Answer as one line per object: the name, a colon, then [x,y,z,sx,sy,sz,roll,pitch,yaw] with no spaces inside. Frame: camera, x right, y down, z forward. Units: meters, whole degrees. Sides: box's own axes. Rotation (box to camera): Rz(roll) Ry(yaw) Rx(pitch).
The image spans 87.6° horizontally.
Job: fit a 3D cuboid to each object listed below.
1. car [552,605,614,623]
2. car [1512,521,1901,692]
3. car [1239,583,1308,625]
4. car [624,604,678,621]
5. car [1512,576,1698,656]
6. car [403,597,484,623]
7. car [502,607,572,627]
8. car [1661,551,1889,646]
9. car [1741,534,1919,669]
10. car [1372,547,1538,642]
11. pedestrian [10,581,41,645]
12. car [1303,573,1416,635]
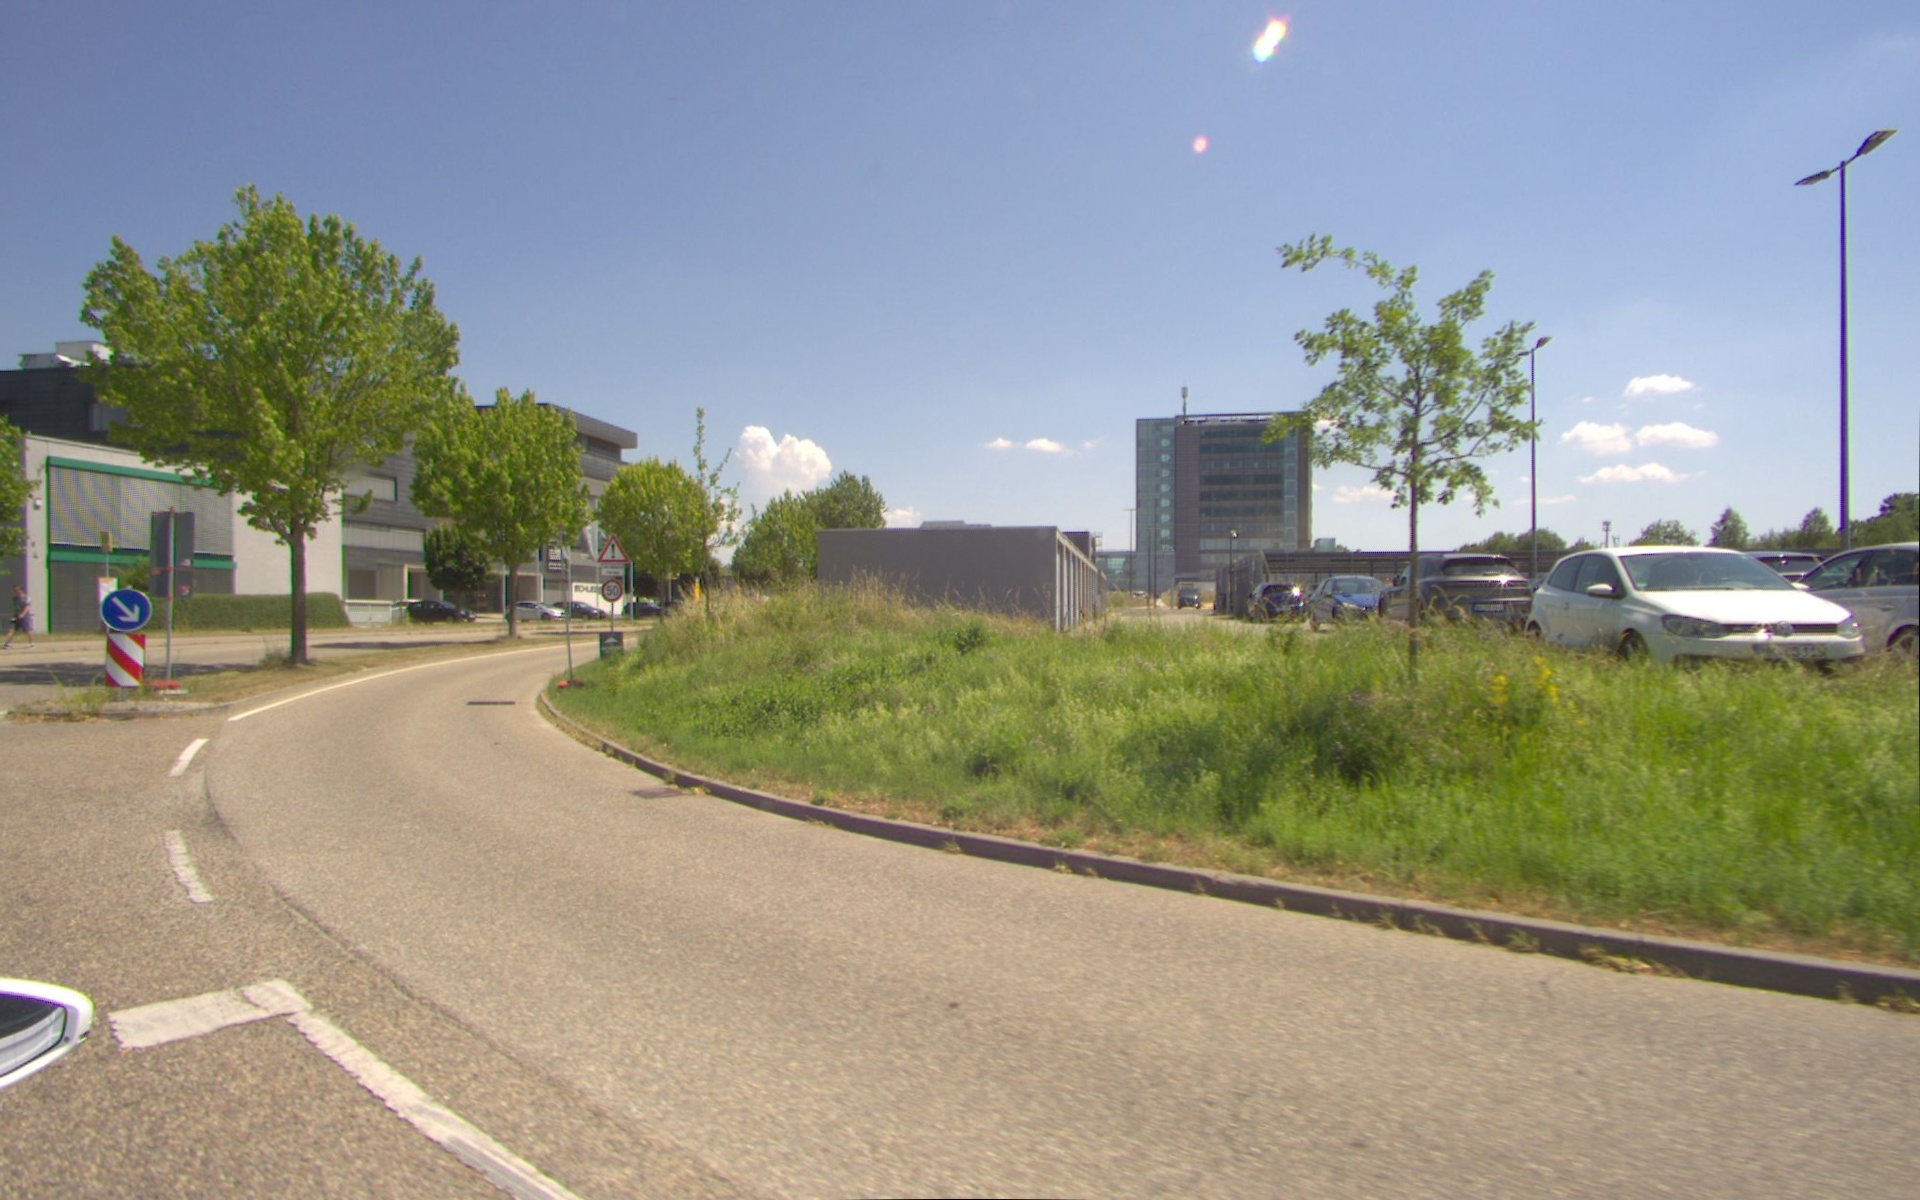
car: [-27.282,1.014,72.544,3.818,1.198,1.704,-1,1,10]
car: [7.031,0.090,9.969,1.545,1.314,3.876,-2,-1,11]
car: [11.351,0.133,36.450,1.556,1.428,3.475,0,0,3]
car: [-25.133,1.002,81.582,3.818,1.291,1.704,-1,1,10]
car: [12.398,0.267,19.542,1.621,1.381,3.846,-1,0,9]
car: [-29.677,0.571,57.583,3.843,1.398,1.704,-1,1,10]
car: [-28.387,1.136,67.177,4.195,1.197,1.494,-1,-3,10]
car: [15.223,-0.037,18.982,1.735,1.619,3.637,-1,1,9]
car: [9.450,0.002,9.789,1.473,1.197,3.269,-2,-1,10]
car: [9.933,-0.028,20.505,1.743,1.712,4.605,1,-2,9]
pedestrian: [-25.246,0.357,27.053,0.572,1.691,0.527,-2,-2,38]
car: [10.188,0.095,25.797,1.620,1.465,3.639,0,0,3]
